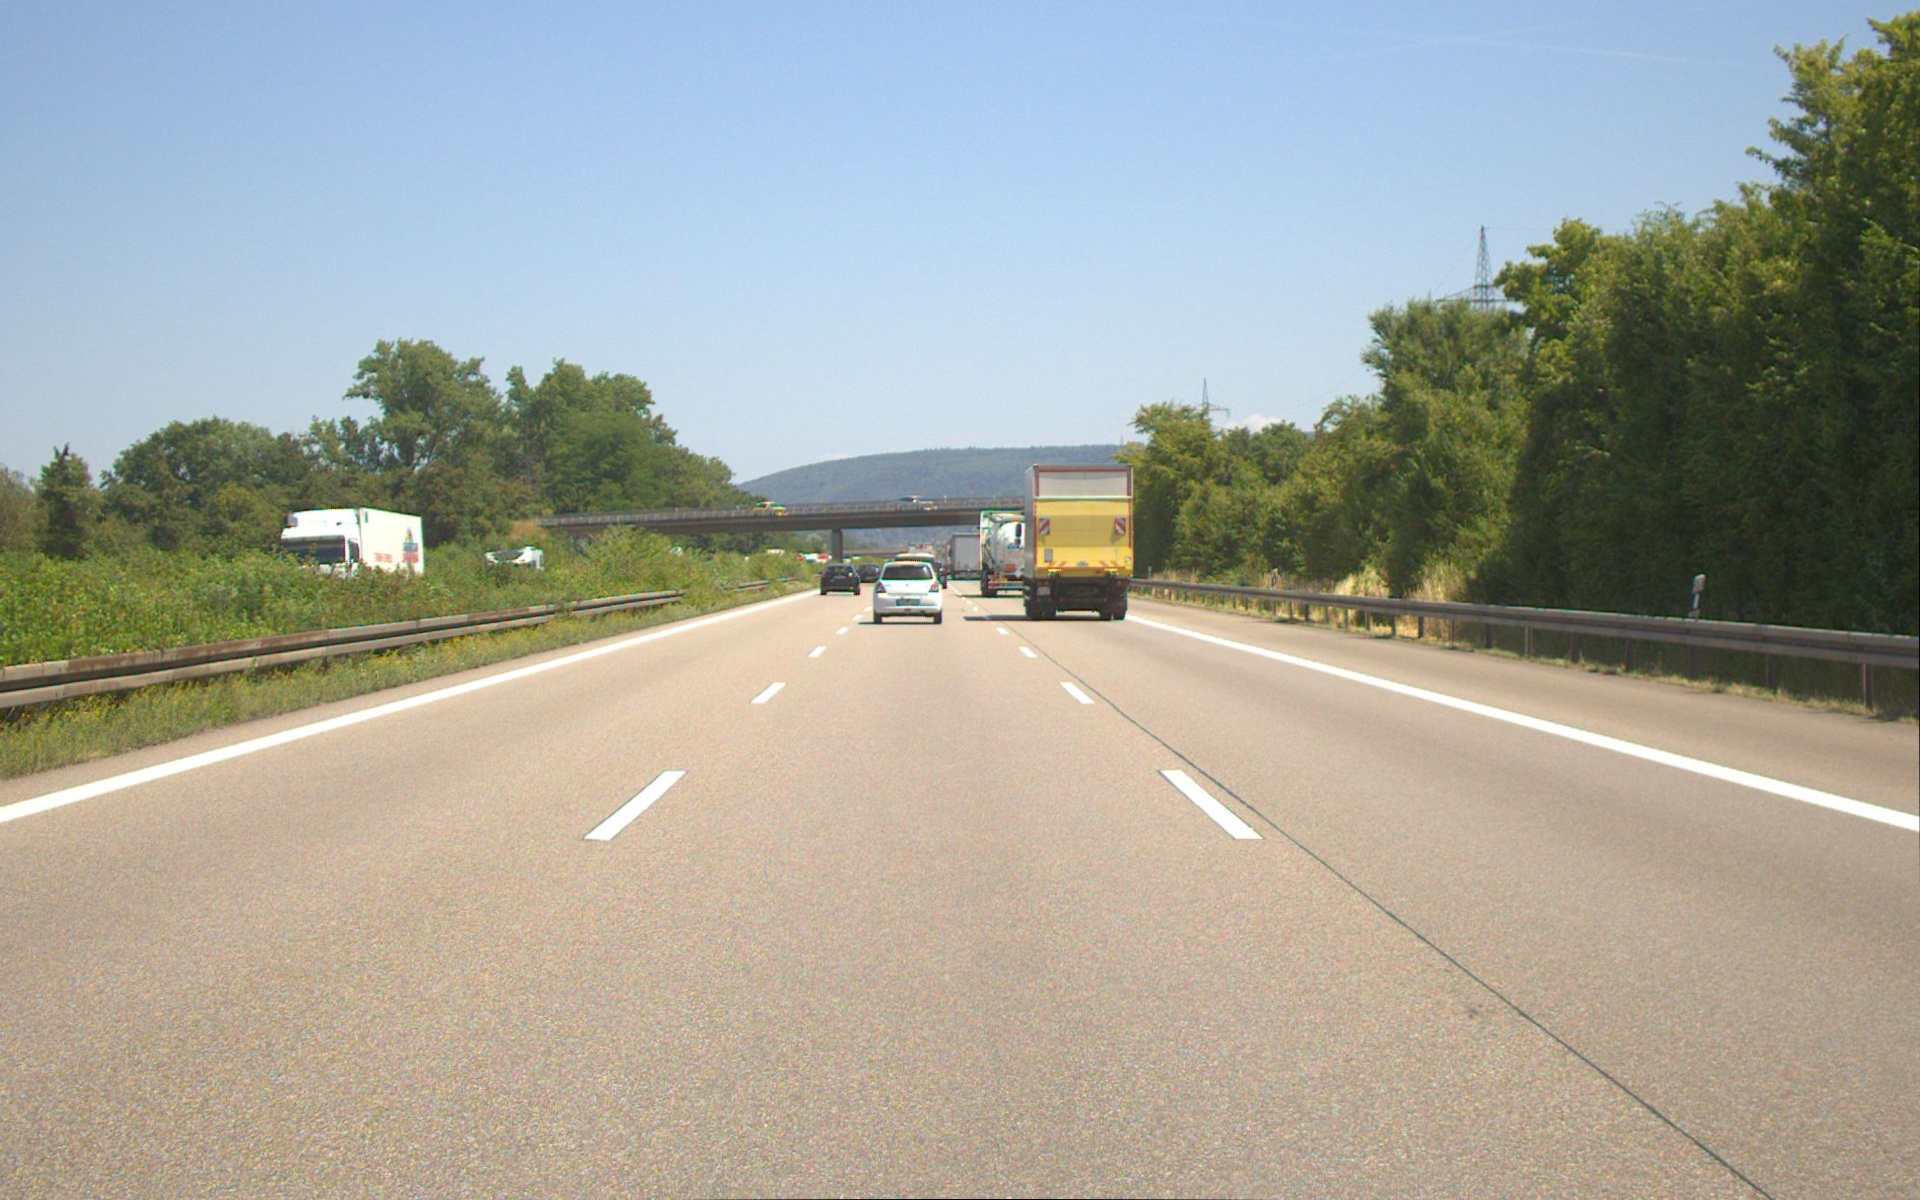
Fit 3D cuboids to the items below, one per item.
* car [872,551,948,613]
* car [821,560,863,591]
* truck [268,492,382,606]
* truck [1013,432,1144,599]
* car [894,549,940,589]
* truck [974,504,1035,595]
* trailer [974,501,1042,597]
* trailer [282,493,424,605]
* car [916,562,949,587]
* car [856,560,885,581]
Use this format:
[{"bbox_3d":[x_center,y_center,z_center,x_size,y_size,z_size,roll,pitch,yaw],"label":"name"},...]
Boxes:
[{"bbox_3d":[-1.220,-0.457,84.552,1.806,1.463,4.000,1,1,0],"label":"car"},{"bbox_3d":[-5.421,-1.144,158.257,1.835,1.382,4.000,1,1,0],"label":"car"},{"bbox_3d":[-22.079,-1.769,119.802,2.933,3.856,5.752,1,1,-1],"label":"truck"},{"bbox_3d":[3.082,-2.192,92.216,2.933,4.185,10.682,1,1,-1],"label":"truck"},{"bbox_3d":[-1.777,-1.290,143.507,1.852,1.627,4.000,1,1,0],"label":"car"},{"bbox_3d":[2.009,-2.315,157.535,2.573,4.058,6.393,1,1,-1],"label":"truck"},{"bbox_3d":[2.085,-2.259,152.946,2.580,4.060,11.104,1,1,-1],"label":"trailer"},{"bbox_3d":[-22.181,-1.845,126.433,2.933,3.856,13.911,1,1,-1],"label":"trailer"},{"bbox_3d":[-1.558,-1.482,197.309,1.835,1.382,4.000,1,1,0],"label":"car"},{"bbox_3d":[-5.986,-1.963,229.467,1.835,1.382,4.000,1,1,0],"label":"car"}]
